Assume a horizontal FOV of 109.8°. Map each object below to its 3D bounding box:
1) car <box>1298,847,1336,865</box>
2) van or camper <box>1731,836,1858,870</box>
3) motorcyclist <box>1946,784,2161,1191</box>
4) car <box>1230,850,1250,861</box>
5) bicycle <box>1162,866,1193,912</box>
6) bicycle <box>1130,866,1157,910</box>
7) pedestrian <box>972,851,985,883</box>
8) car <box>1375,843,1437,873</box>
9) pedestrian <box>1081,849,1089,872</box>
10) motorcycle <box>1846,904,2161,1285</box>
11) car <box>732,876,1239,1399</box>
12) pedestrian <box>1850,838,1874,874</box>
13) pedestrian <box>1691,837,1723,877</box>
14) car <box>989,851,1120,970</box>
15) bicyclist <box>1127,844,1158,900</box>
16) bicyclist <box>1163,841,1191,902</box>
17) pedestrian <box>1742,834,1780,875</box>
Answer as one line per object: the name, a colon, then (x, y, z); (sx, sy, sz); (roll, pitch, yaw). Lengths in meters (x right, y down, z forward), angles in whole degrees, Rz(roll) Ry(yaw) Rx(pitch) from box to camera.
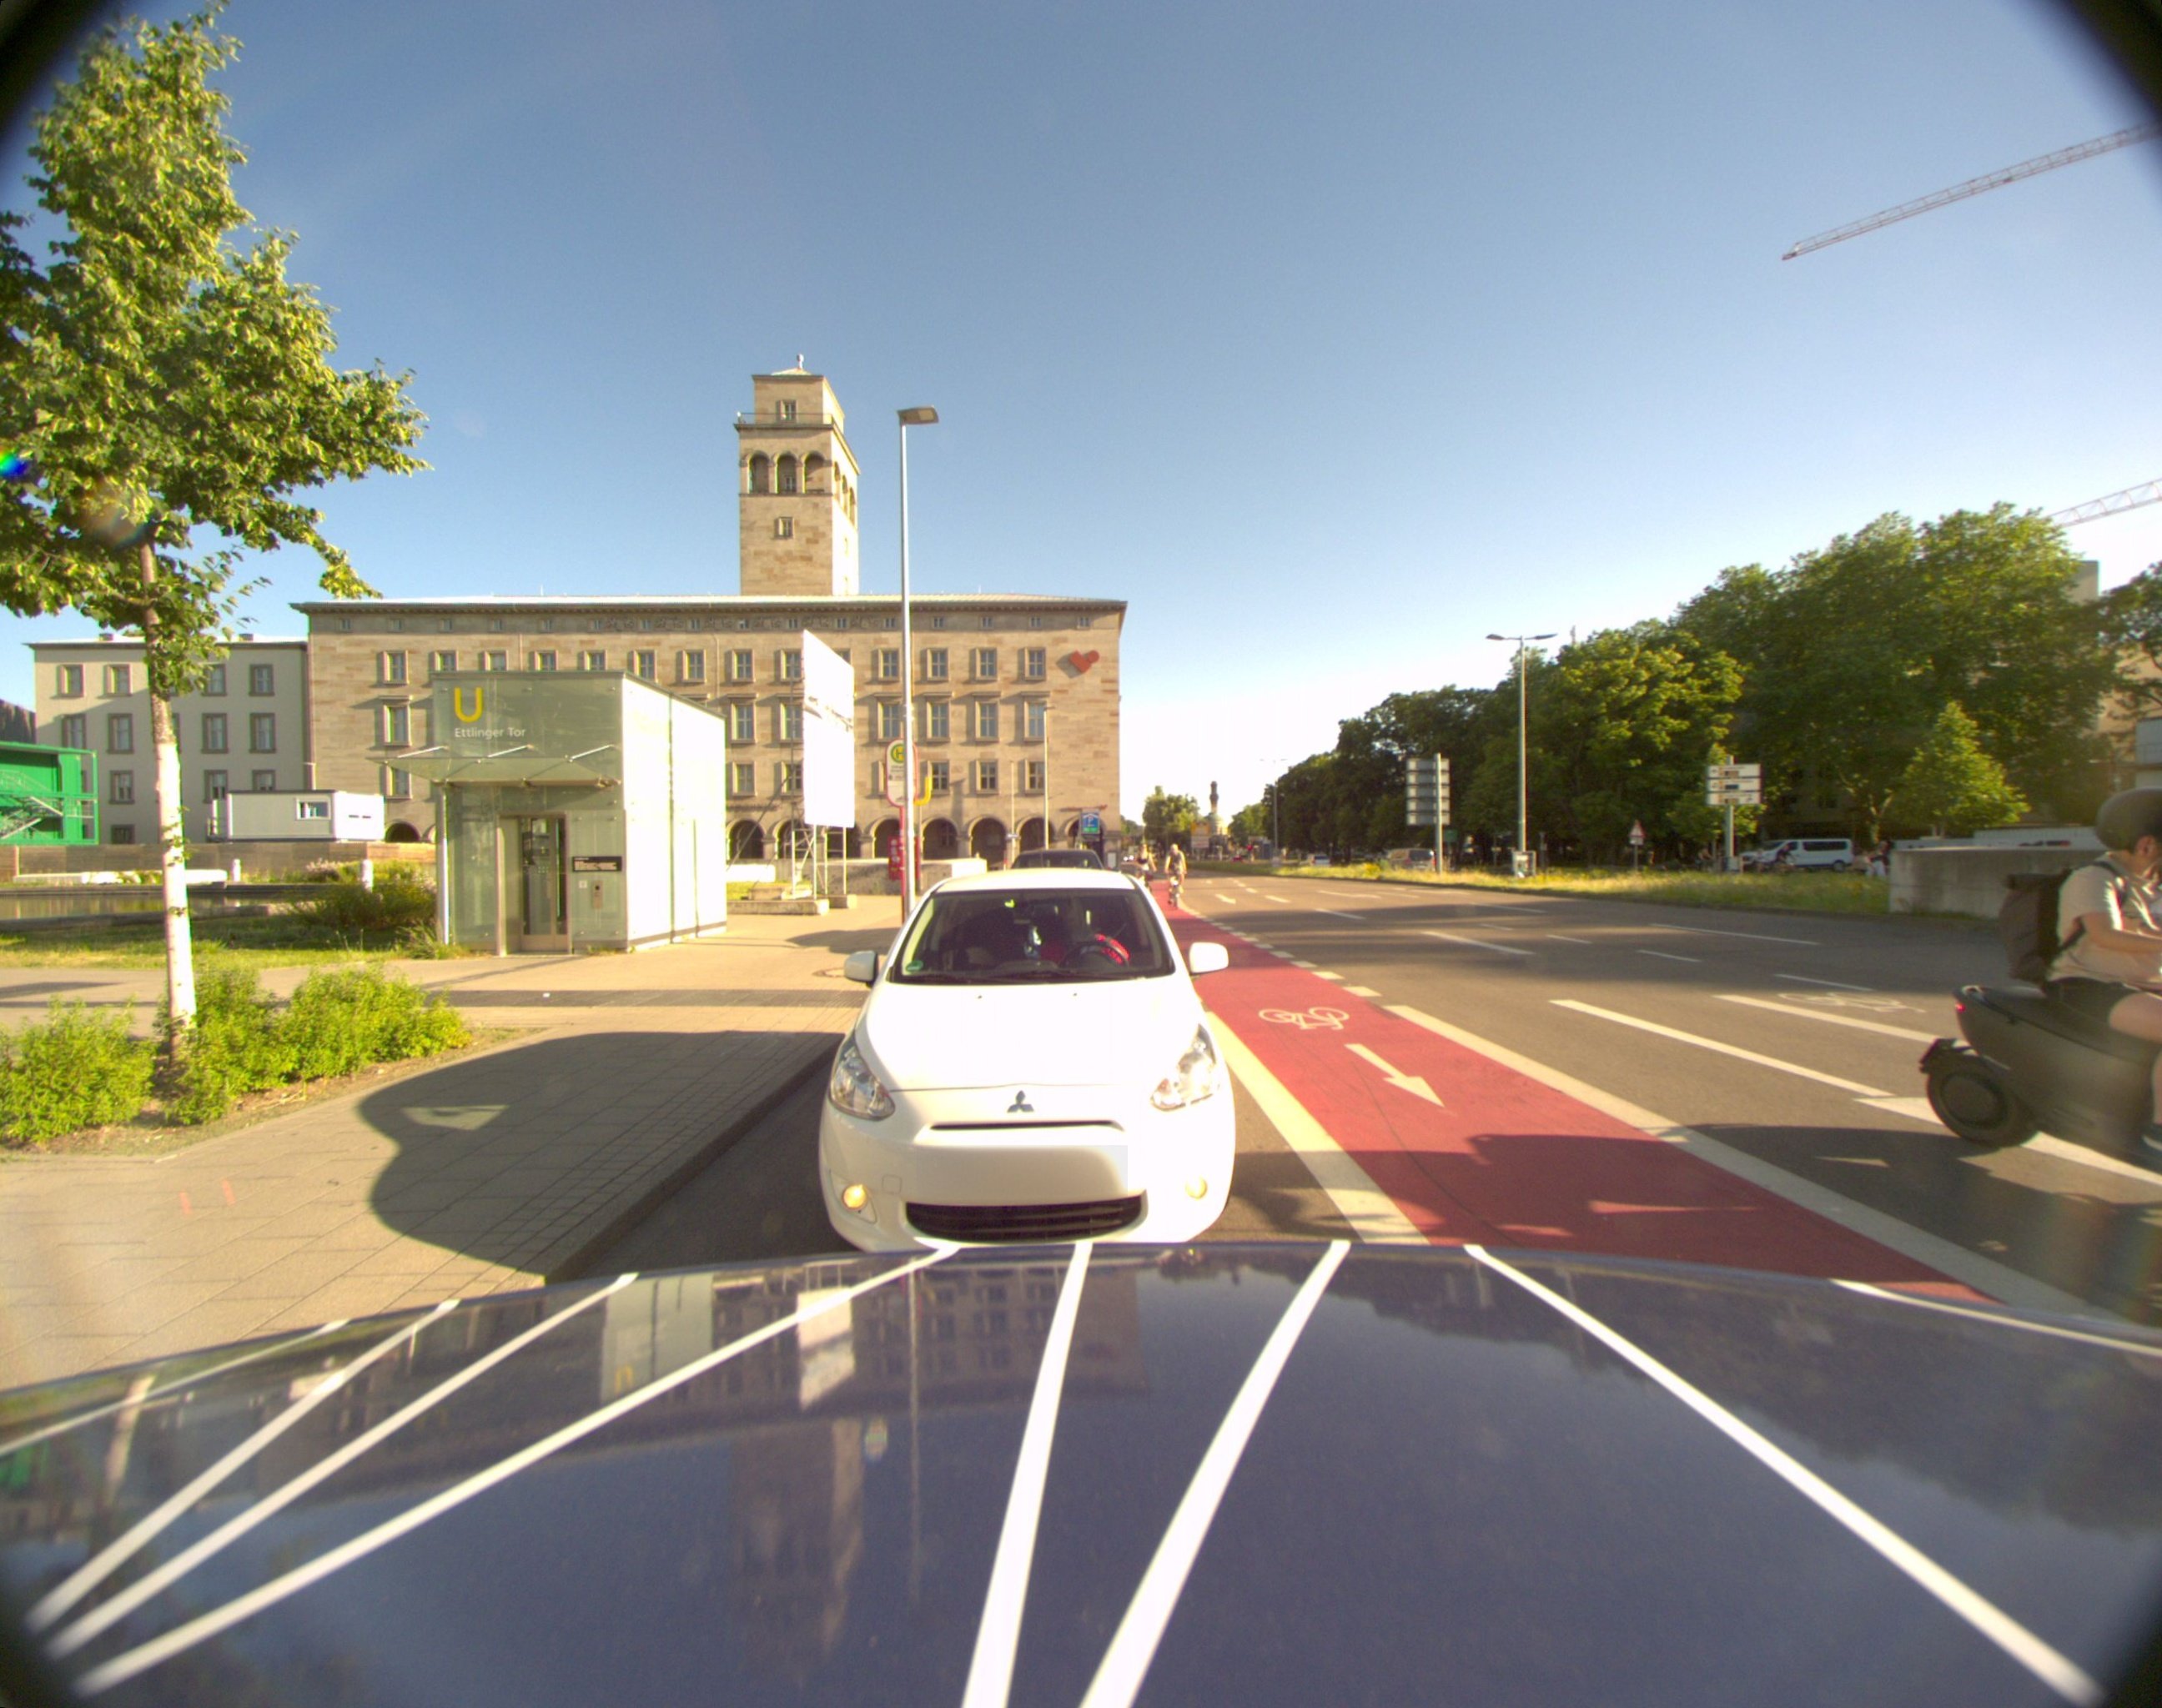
car: (18.435, 0.144, 59.481); (1.728, 1.369, 3.943); (-1, 0, 1)
van or camper: (42.228, -0.053, 45.061); (5.499, 1.934, 1.951); (-1, 0, 4)
motorcyclist: (4.266, 0.471, 2.946); (0.824, 1.455, 0.877); (-1, 1, 1)
car: (21.640, 0.178, 103.494); (1.881, 1.472, 3.980); (-1, 0, 1)
bicycle: (2.639, 0.937, 20.902); (0.689, 1.185, 1.506); (-1, 1, 1)
bicycle: (1.790, 0.957, 21.923); (0.689, 1.185, 1.506); (-1, 1, 1)
pedestrian: (-5.483, 0.710, 40.653); (0.595, 1.700, 0.583); (-1, 1, 1)
car: (21.731, 0.263, 51.031); (1.887, 1.911, 4.930); (-1, 0, -2)
pedestrian: (0.299, 0.495, 56.666); (0.552, 1.692, 0.553); (-1, 1, -1)
motorcycle: (4.265, 0.897, 2.859); (0.828, 1.273, 1.944); (-1, 0, 1)
car: (-0.263, 0.926, 4.305); (1.519, 1.447, 4.000); (-1, 0, 1)
pedestrian: (32.519, 0.079, 31.639); (0.499, 1.502, 0.494); (-1, 1, 1)
pedestrian: (32.647, 0.158, 39.636); (0.957, 2.002, 0.840); (-2, 1, -5)
car: (-0.353, 0.795, 12.756); (1.833, 1.660, 4.000); (-1, 0, 1)
bicyclist: (1.771, 0.497, 21.894); (0.824, 1.568, 0.877); (-1, 1, 1)
bicyclist: (2.644, 0.478, 20.962); (0.674, 1.649, 0.877); (-1, 1, 1)
pedestrian: (33.595, 0.025, 37.541); (1.126, 1.952, 0.815); (-2, 1, 1)
